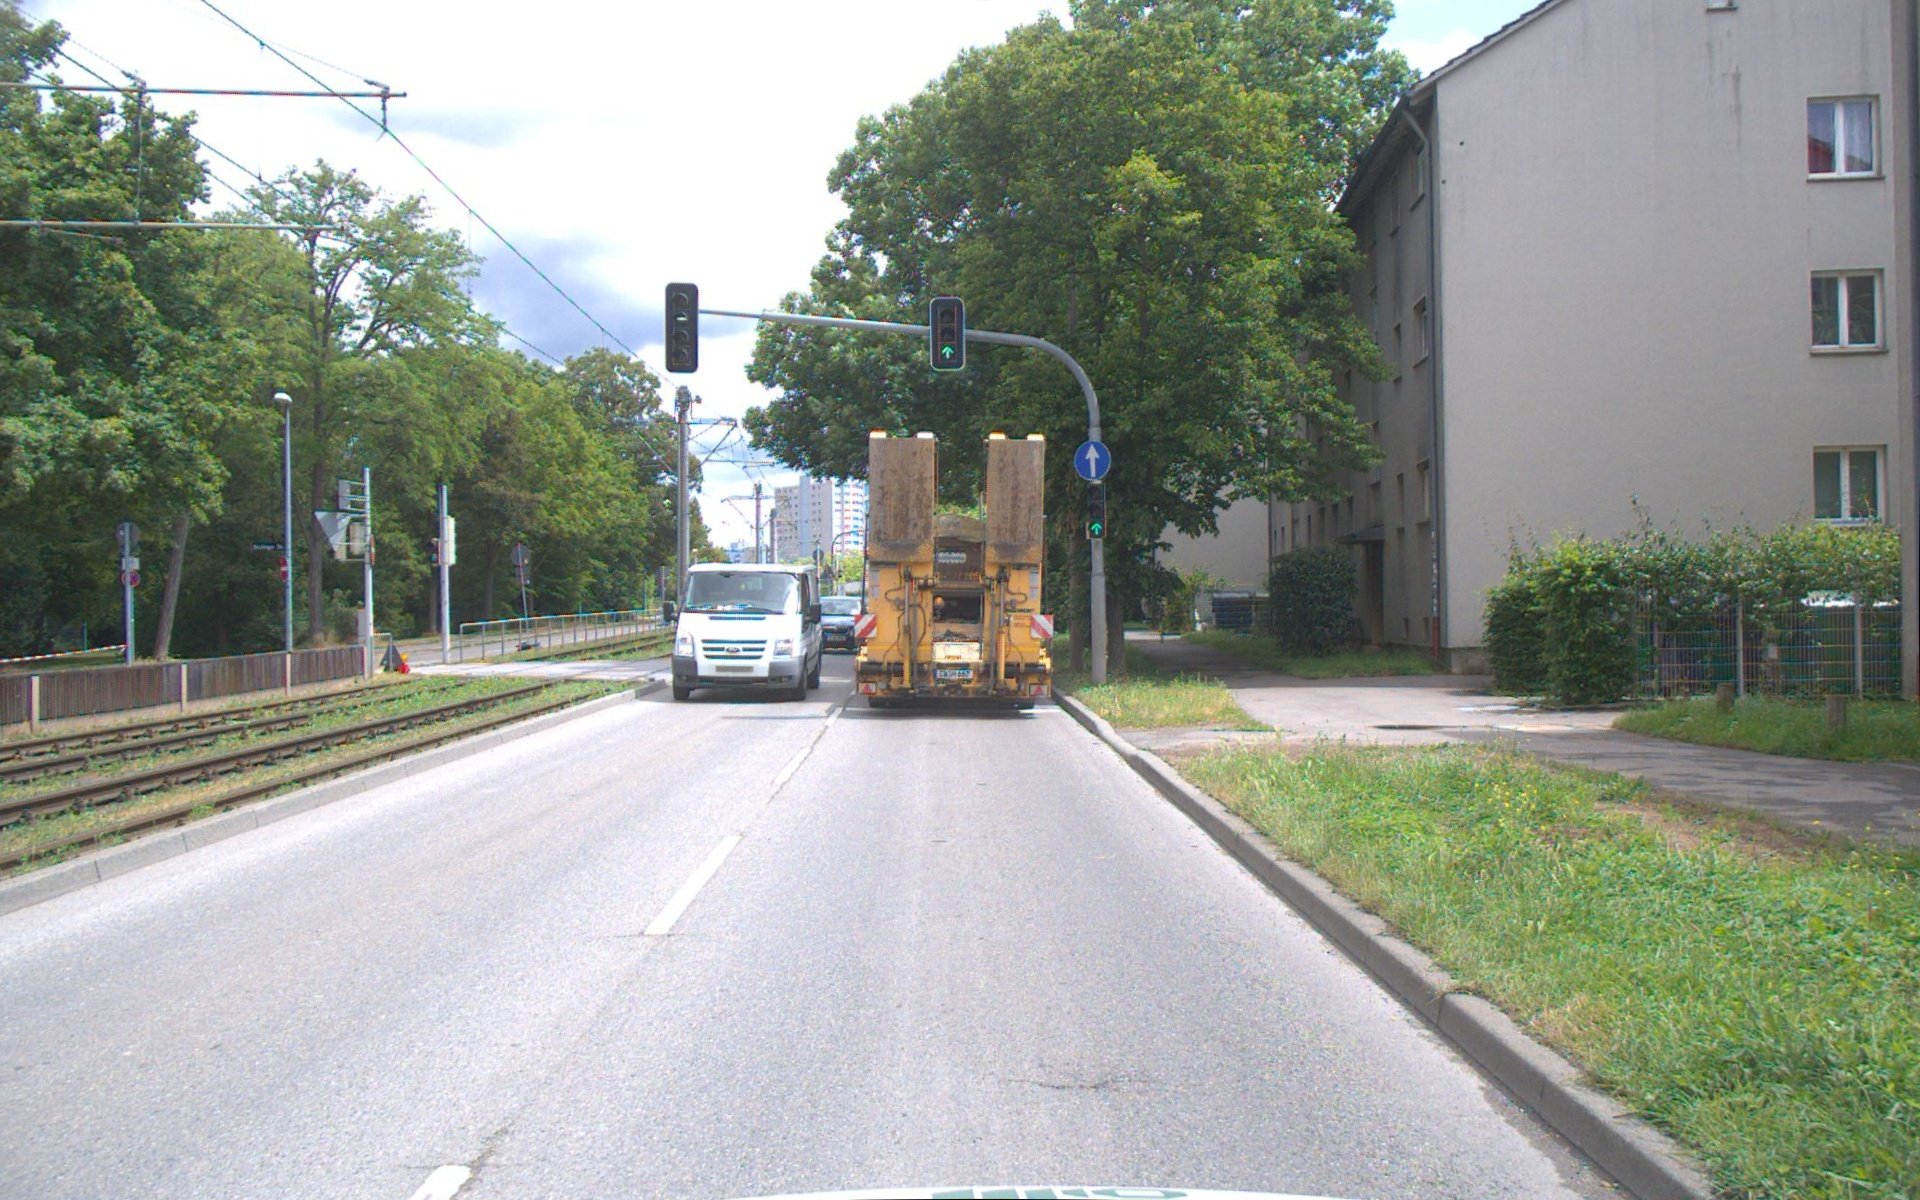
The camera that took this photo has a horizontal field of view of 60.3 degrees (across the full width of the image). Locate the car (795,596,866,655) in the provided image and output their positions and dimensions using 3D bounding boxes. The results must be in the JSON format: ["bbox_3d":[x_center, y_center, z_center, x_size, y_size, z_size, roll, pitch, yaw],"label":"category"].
[{"bbox_3d":[-3.458,0.643,44.706,1.645,1.475,4.073,-1,0,-1],"label":"car"}]

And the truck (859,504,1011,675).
[{"bbox_3d":[-0.564,-0.224,35.504,2.858,3.222,7.678,1,0,-1],"label":"truck"}]

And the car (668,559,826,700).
[{"bbox_3d":[-3.149,0.404,25.263,1.903,1.974,4.316,0,0,-1],"label":"car"}]

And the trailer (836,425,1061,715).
[{"bbox_3d":[-0.326,-0.389,26.149,2.766,3.585,11.047,1,0,-2],"label":"trailer"}]
